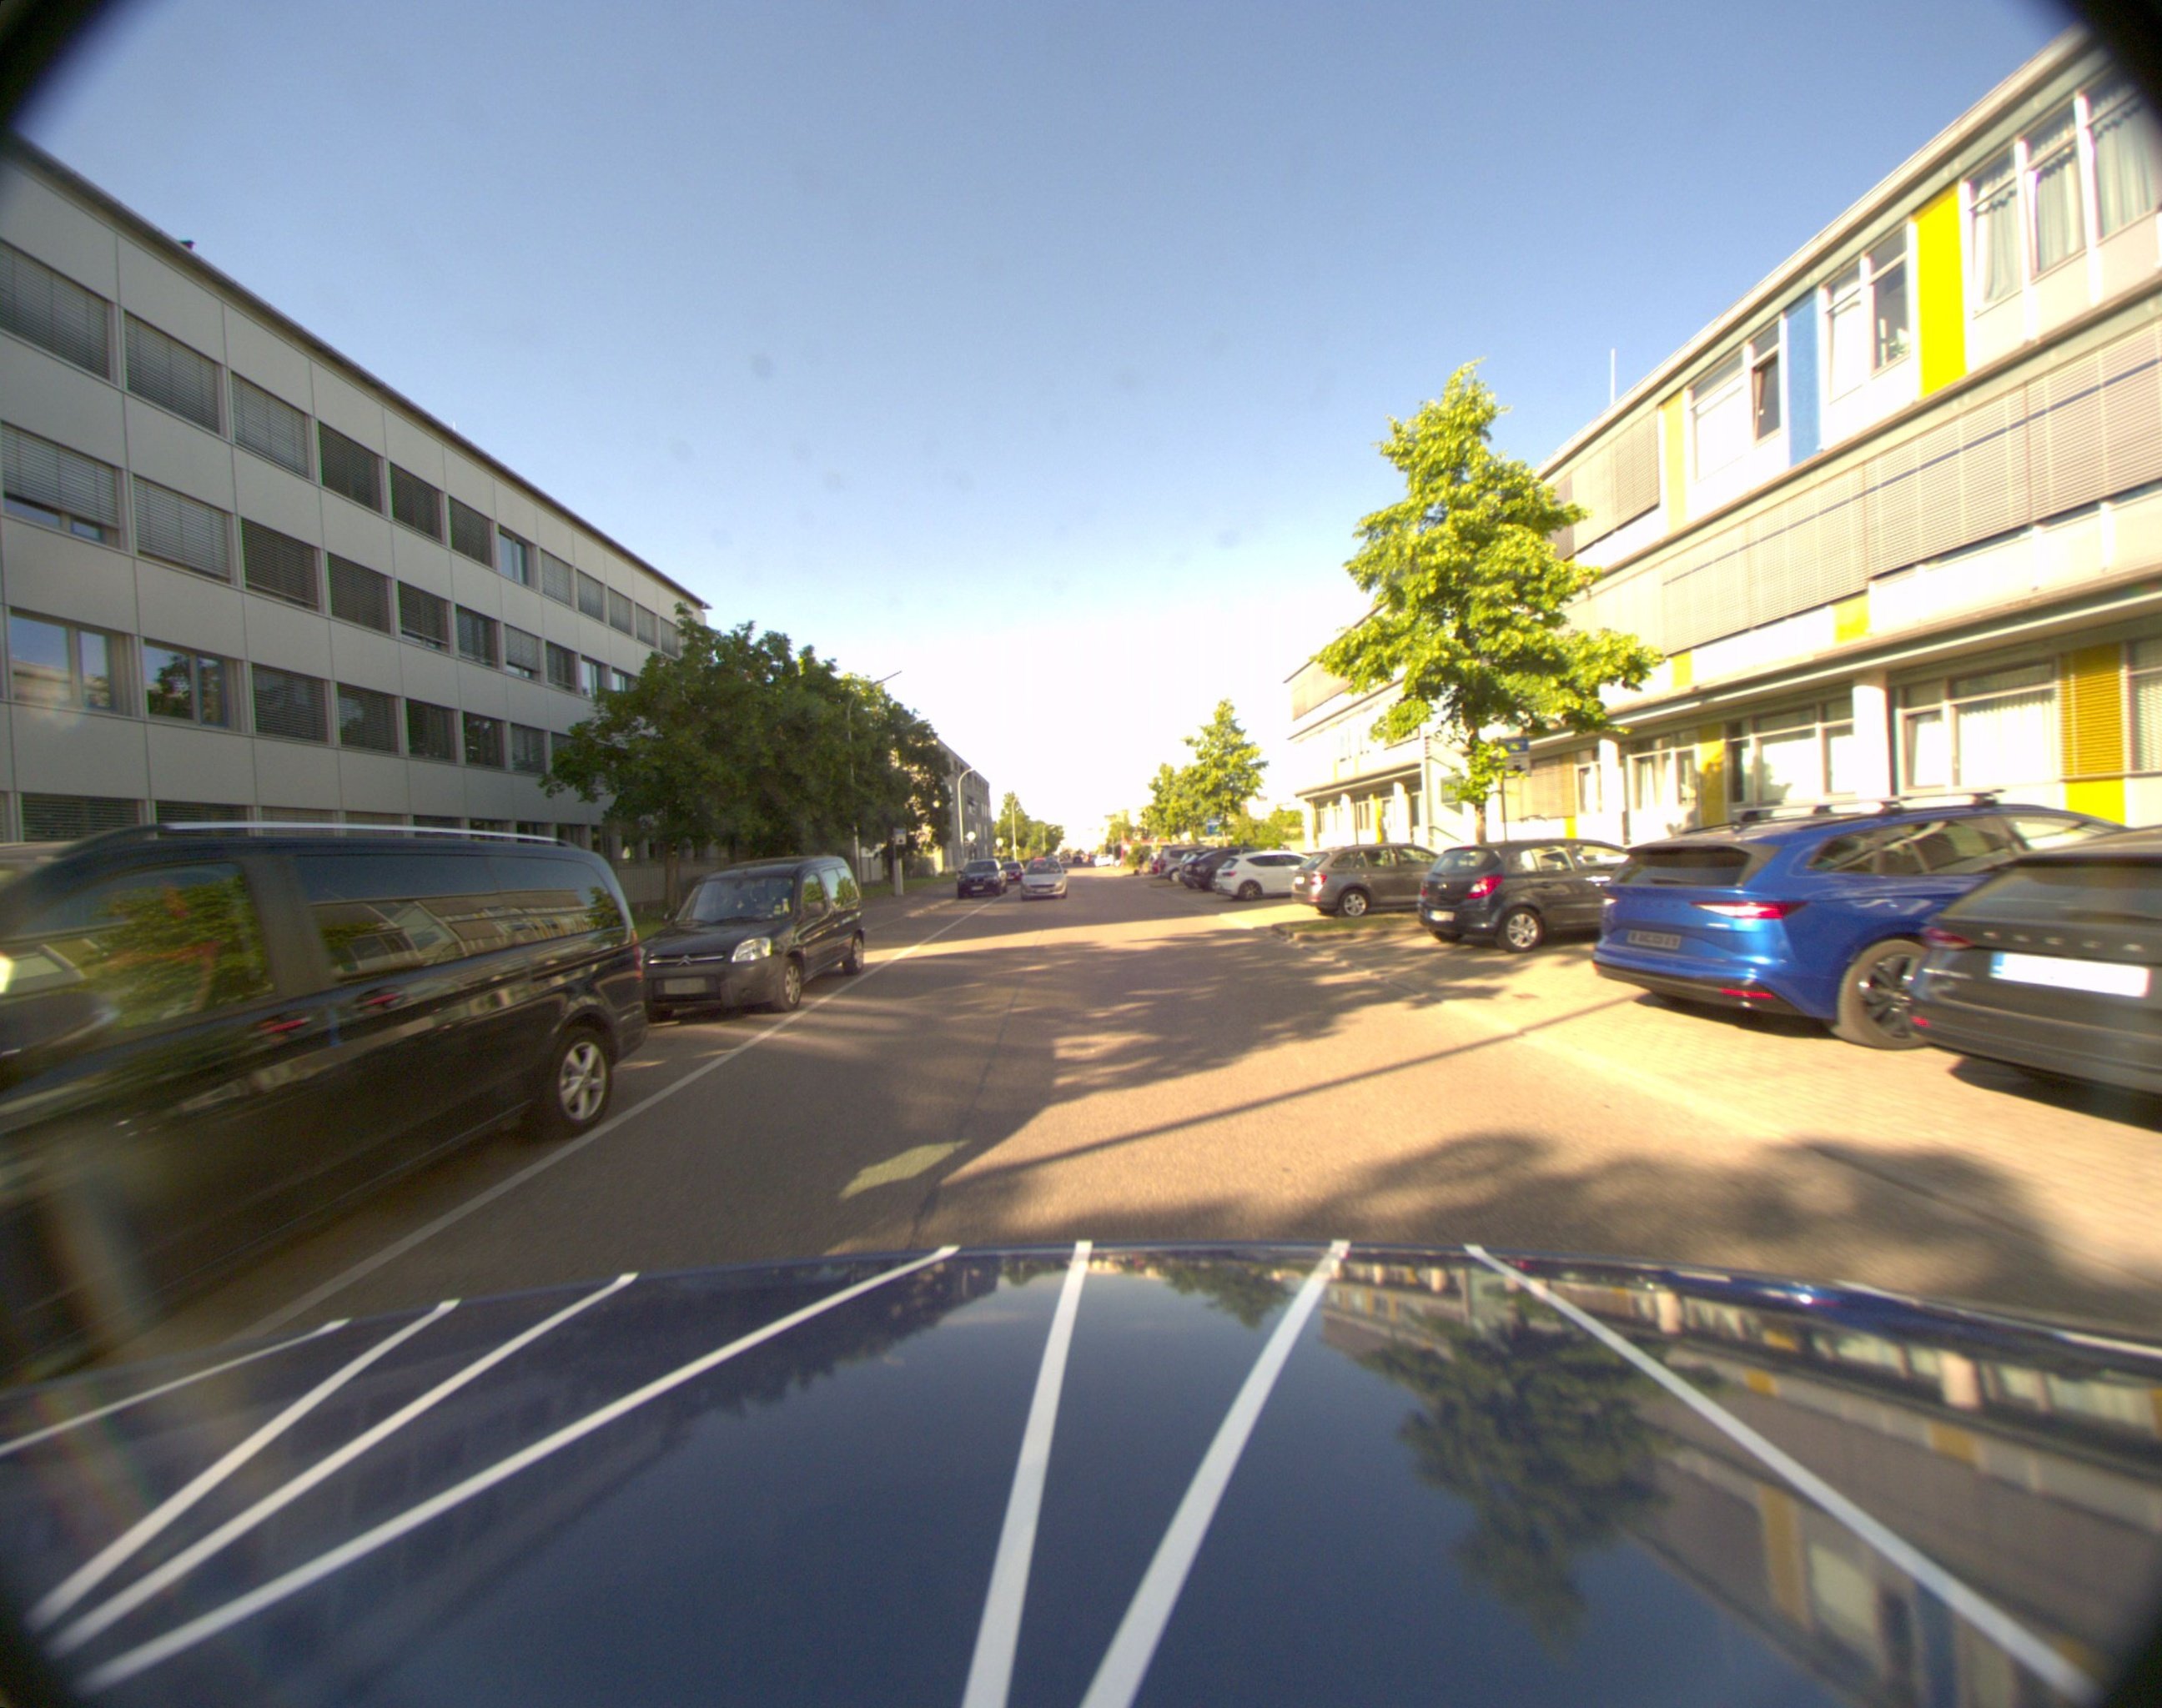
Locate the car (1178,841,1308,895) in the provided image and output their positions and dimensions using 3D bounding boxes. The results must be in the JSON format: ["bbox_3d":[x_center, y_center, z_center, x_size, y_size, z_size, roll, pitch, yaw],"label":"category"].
[{"bbox_3d":[6.090,0.492,28.917,4.360,1.618,1.999,-5,1,-5],"label":"car"}]

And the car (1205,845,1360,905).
[{"bbox_3d":[6.034,0.608,23.065,4.102,1.414,1.823,-5,1,-2],"label":"car"}]

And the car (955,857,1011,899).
[{"bbox_3d":[-4.370,1.051,34.524,1.890,1.616,4.294,-5,0,-1],"label":"car"}]

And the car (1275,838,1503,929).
[{"bbox_3d":[6.377,0.566,16.028,3.992,1.480,1.823,-5,1,-2],"label":"car"}]

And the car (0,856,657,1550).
[{"bbox_3d":[-3.957,1.009,2.992,1.869,1.859,5.020,-5,0,-4],"label":"car"}]

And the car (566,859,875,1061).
[{"bbox_3d":[-4.059,1.042,9.493,1.706,1.784,4.294,-5,0,-1],"label":"car"}]

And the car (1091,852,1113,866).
[{"bbox_3d":[2.448,0.555,89.930,2.000,1.499,3.997,-2,0,-7],"label":"car"}]

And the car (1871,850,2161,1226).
[{"bbox_3d":[6.326,0.673,3.338,3.998,1.429,1.730,-4,1,-3],"label":"car"}]

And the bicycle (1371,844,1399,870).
[{"bbox_3d":[13.437,0.134,33.609,0.519,1.090,1.660,-3,1,-1],"label":"bicycle"}]

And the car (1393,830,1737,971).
[{"bbox_3d":[6.633,0.568,10.624,3.752,1.480,1.777,-5,1,-9],"label":"car"}]

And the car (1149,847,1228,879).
[{"bbox_3d":[6.253,0.507,44.445,4.358,1.452,2.000,-5,1,4],"label":"car"}]

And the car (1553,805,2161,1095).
[{"bbox_3d":[6.352,0.562,5.823,4.232,1.642,1.960,-3,1,-3],"label":"car"}]

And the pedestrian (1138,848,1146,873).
[{"bbox_3d":[4.370,0.440,54.403,0.369,1.712,0.479,-5,5,-4],"label":"pedestrian"}]

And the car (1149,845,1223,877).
[{"bbox_3d":[6.483,0.404,47.208,4.358,1.637,2.000,-5,1,4],"label":"car"}]

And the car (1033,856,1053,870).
[{"bbox_3d":[-4.234,0.938,83.163,1.999,1.382,3.998,-2,0,-5],"label":"car"}]

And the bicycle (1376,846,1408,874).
[{"bbox_3d":[12.343,0.236,30.214,0.519,1.072,1.660,-2,0,-1],"label":"bicycle"}]

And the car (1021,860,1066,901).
[{"bbox_3d":[-1.376,0.949,28.898,1.551,1.389,3.453,-2,0,-1],"label":"car"}]

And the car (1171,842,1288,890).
[{"bbox_3d":[6.219,0.498,32.103,4.360,1.581,1.999,-5,0,-5],"label":"car"}]

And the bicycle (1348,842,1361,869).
[{"bbox_3d":[12.360,0.072,34.408,0.462,1.090,1.514,-4,3,19],"label":"bicycle"}]

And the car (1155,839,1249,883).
[{"bbox_3d":[6.113,0.339,38.788,4.359,1.852,2.000,-5,0,0],"label":"car"}]

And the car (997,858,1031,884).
[{"bbox_3d":[-4.451,1.103,50.961,1.824,1.435,4.294,-5,0,-1],"label":"car"}]

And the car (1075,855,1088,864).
[{"bbox_3d":[0.064,0.952,132.493,1.912,1.499,3.997,-2,0,-7],"label":"car"}]
